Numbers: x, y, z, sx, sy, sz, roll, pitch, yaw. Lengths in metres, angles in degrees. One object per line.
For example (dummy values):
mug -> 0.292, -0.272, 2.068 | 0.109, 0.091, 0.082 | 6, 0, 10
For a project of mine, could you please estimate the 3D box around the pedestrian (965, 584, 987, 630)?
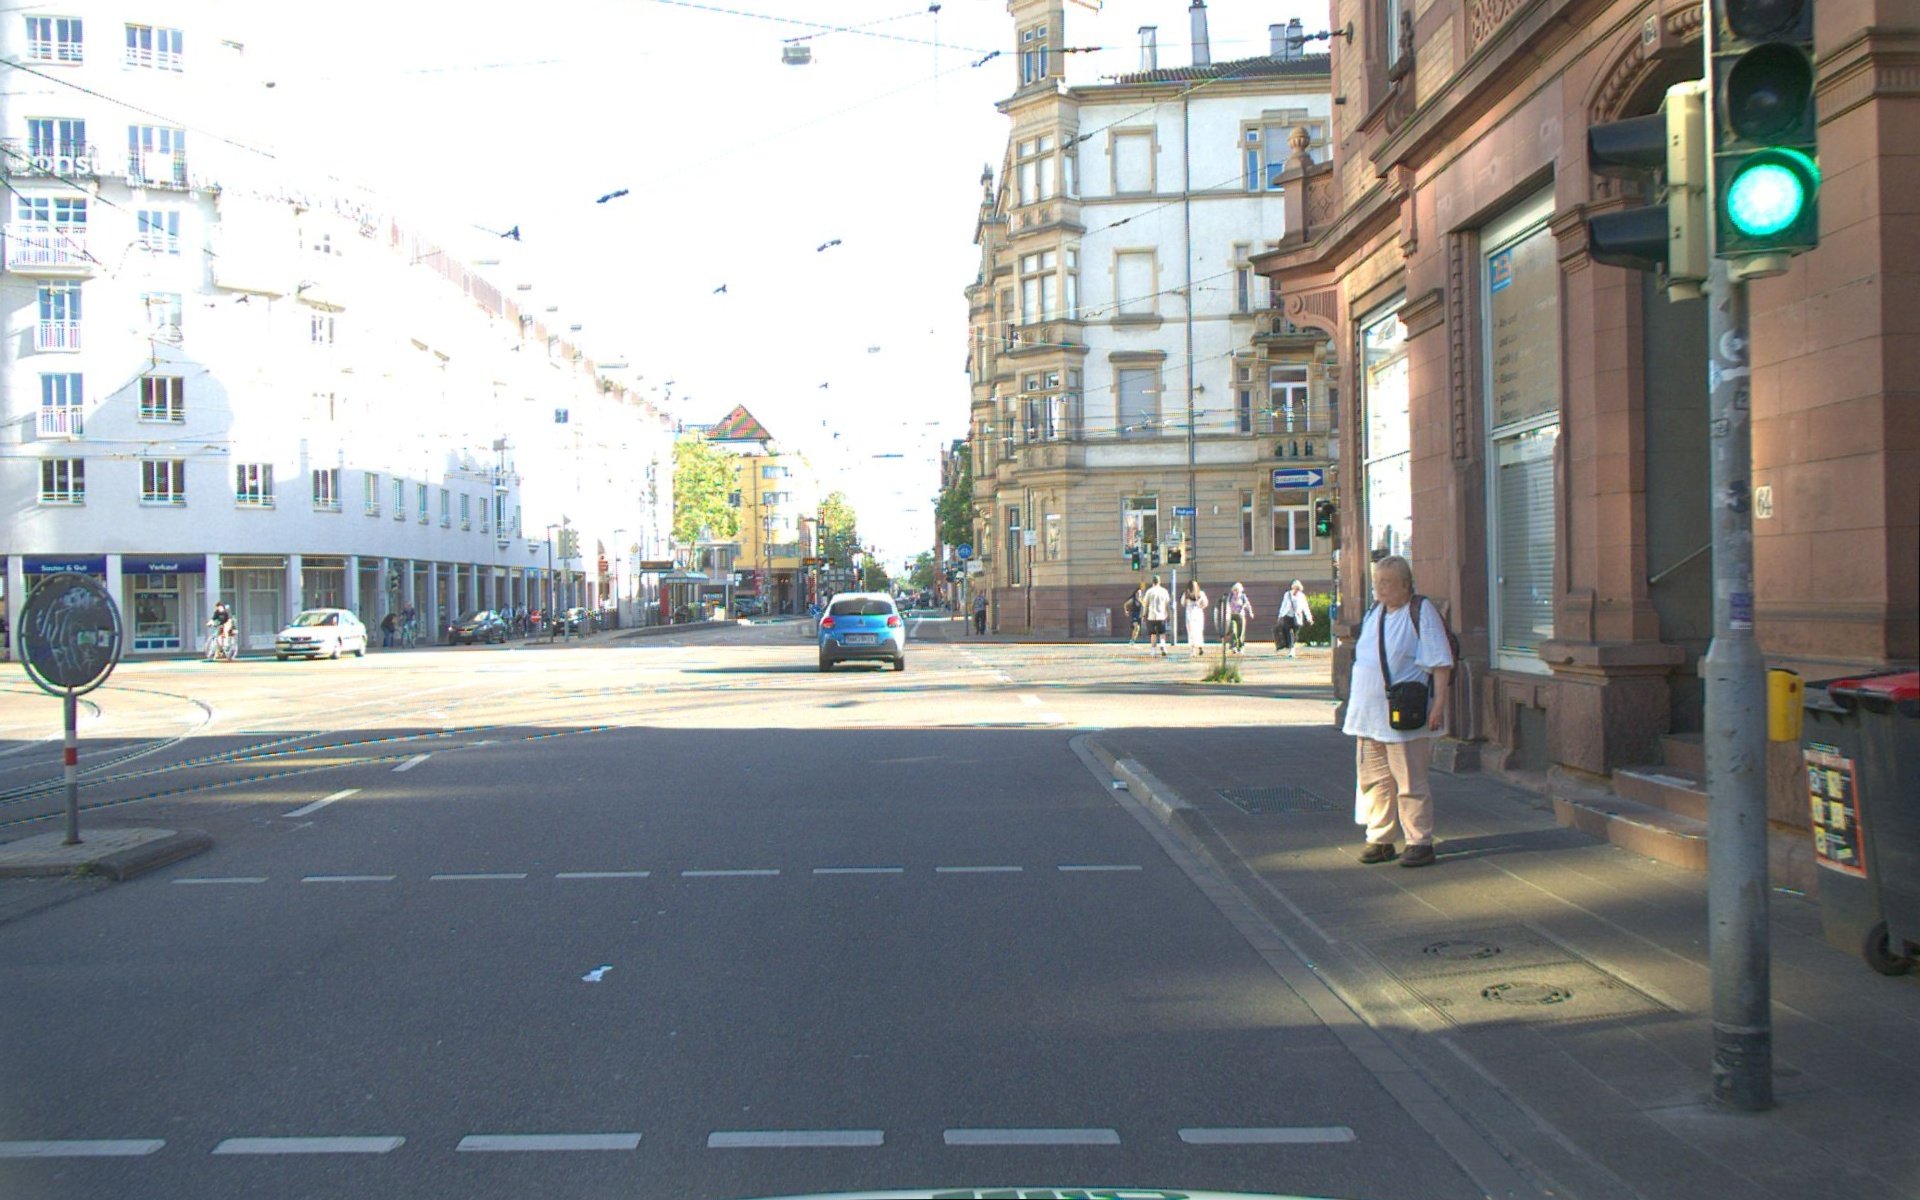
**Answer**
pedestrian -> 0.633, 0.269, 65.567 | 0.764, 1.780, 1.092 | -1, 2, -4

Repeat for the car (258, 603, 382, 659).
car -> -18.419, 0.845, 47.812 | 1.954, 1.477, 4.647 | -1, 0, -3

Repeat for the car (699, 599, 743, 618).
car -> -22.571, 0.795, 156.334 | 3.909, 1.704, 1.956 | -1, 0, -5

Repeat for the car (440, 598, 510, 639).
car -> -20.573, 0.793, 70.312 | 1.954, 1.624, 3.997 | -1, -1, -3

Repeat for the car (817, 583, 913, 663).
car -> -1.831, 0.422, 32.830 | 1.745, 1.476, 3.653 | 1, 0, -1

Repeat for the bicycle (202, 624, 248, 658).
bicycle -> -22.055, 1.233, 49.647 | 0.582, 0.989, 1.817 | -1, -1, -1

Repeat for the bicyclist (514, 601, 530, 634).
bicyclist -> -21.749, 0.889, 82.051 | 0.577, 1.613, 0.895 | -1, -1, -4

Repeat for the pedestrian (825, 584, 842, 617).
pedestrian -> -6.957, 0.036, 90.973 | 0.704, 1.808, 0.563 | -1, 0, 34

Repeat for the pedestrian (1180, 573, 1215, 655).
pedestrian -> 5.230, 0.307, 36.358 | 0.630, 1.775, 0.705 | 0, -1, 20

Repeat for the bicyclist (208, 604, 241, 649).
bicyclist -> -22.047, 0.788, 49.606 | 0.576, 1.308, 0.927 | -1, -1, -1

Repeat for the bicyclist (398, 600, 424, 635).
bicyclist -> -21.052, 0.660, 63.438 | 0.576, 1.308, 0.993 | -1, -1, 6

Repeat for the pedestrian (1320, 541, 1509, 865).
pedestrian -> 2.413, 0.522, 8.837 | 0.669, 1.635, 0.728 | -1, 0, -15

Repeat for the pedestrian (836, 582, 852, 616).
pedestrian -> -6.019, -0.040, 85.949 | 0.623, 1.727, 0.934 | 0, -1, 6

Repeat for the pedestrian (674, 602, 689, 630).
pedestrian -> -15.723, 0.914, 93.301 | 0.716, 1.554, 0.742 | -1, 1, -3

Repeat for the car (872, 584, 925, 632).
car -> -2.358, 0.338, 64.169 | 1.953, 1.773, 3.999 | 1, -1, -1

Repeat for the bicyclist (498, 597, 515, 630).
bicyclist -> -21.590, 0.640, 78.715 | 0.577, 1.514, 0.927 | -1, -1, -4

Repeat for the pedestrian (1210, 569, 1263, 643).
pedestrian -> 6.374, 0.147, 38.128 | 0.905, 1.660, 0.940 | -2, -1, 30

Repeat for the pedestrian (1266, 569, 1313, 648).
pedestrian -> 7.165, 0.184, 35.930 | 0.902, 1.660, 1.010 | -2, -1, 14

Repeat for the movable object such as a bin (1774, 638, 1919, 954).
movable object such as a bin -> 3.566, 0.711, 6.245 | 0.649, 1.091, 0.545 | -4, 0, 1

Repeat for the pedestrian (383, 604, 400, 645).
pedestrian -> -22.215, 0.966, 64.650 | 0.438, 1.561, 0.674 | -1, 2, -38

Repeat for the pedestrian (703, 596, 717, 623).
pedestrian -> -14.941, 0.581, 98.789 | 0.716, 1.586, 0.742 | -1, 1, -3

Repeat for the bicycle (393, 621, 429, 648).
bicycle -> -21.064, 1.319, 63.488 | 0.581, 0.989, 1.856 | -1, -1, 6

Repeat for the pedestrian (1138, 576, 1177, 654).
pedestrian -> 4.357, 0.335, 36.477 | 0.686, 1.684, 0.632 | -2, -1, 20

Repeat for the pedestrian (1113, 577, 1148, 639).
pedestrian -> 4.732, 0.230, 45.787 | 0.903, 1.660, 0.942 | -1, -1, 7

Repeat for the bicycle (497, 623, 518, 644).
bicycle -> -21.574, 1.605, 78.872 | 0.582, 0.989, 2.010 | -1, -1, -3

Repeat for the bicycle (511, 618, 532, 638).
bicycle -> -21.778, 1.390, 82.231 | 0.582, 0.989, 2.046 | -1, -1, -3

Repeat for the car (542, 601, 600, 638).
car -> -20.879, 1.023, 88.893 | 2.182, 1.944, 4.607 | -1, 0, -2

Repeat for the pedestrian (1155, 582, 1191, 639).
pedestrian -> 5.885, 0.289, 45.718 | 0.621, 1.564, 0.940 | -2, -1, 30

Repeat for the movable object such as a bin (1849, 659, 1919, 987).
movable object such as a bin -> 3.560, 0.752, 5.663 | 0.649, 1.091, 0.591 | -4, 0, 1

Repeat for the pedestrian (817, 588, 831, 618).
pedestrian -> -7.455, 0.169, 90.467 | 0.575, 1.589, 0.468 | -1, 0, 34

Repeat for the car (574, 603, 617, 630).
car -> -21.344, 0.937, 97.054 | 1.694, 1.541, 4.402 | -1, 0, -2
